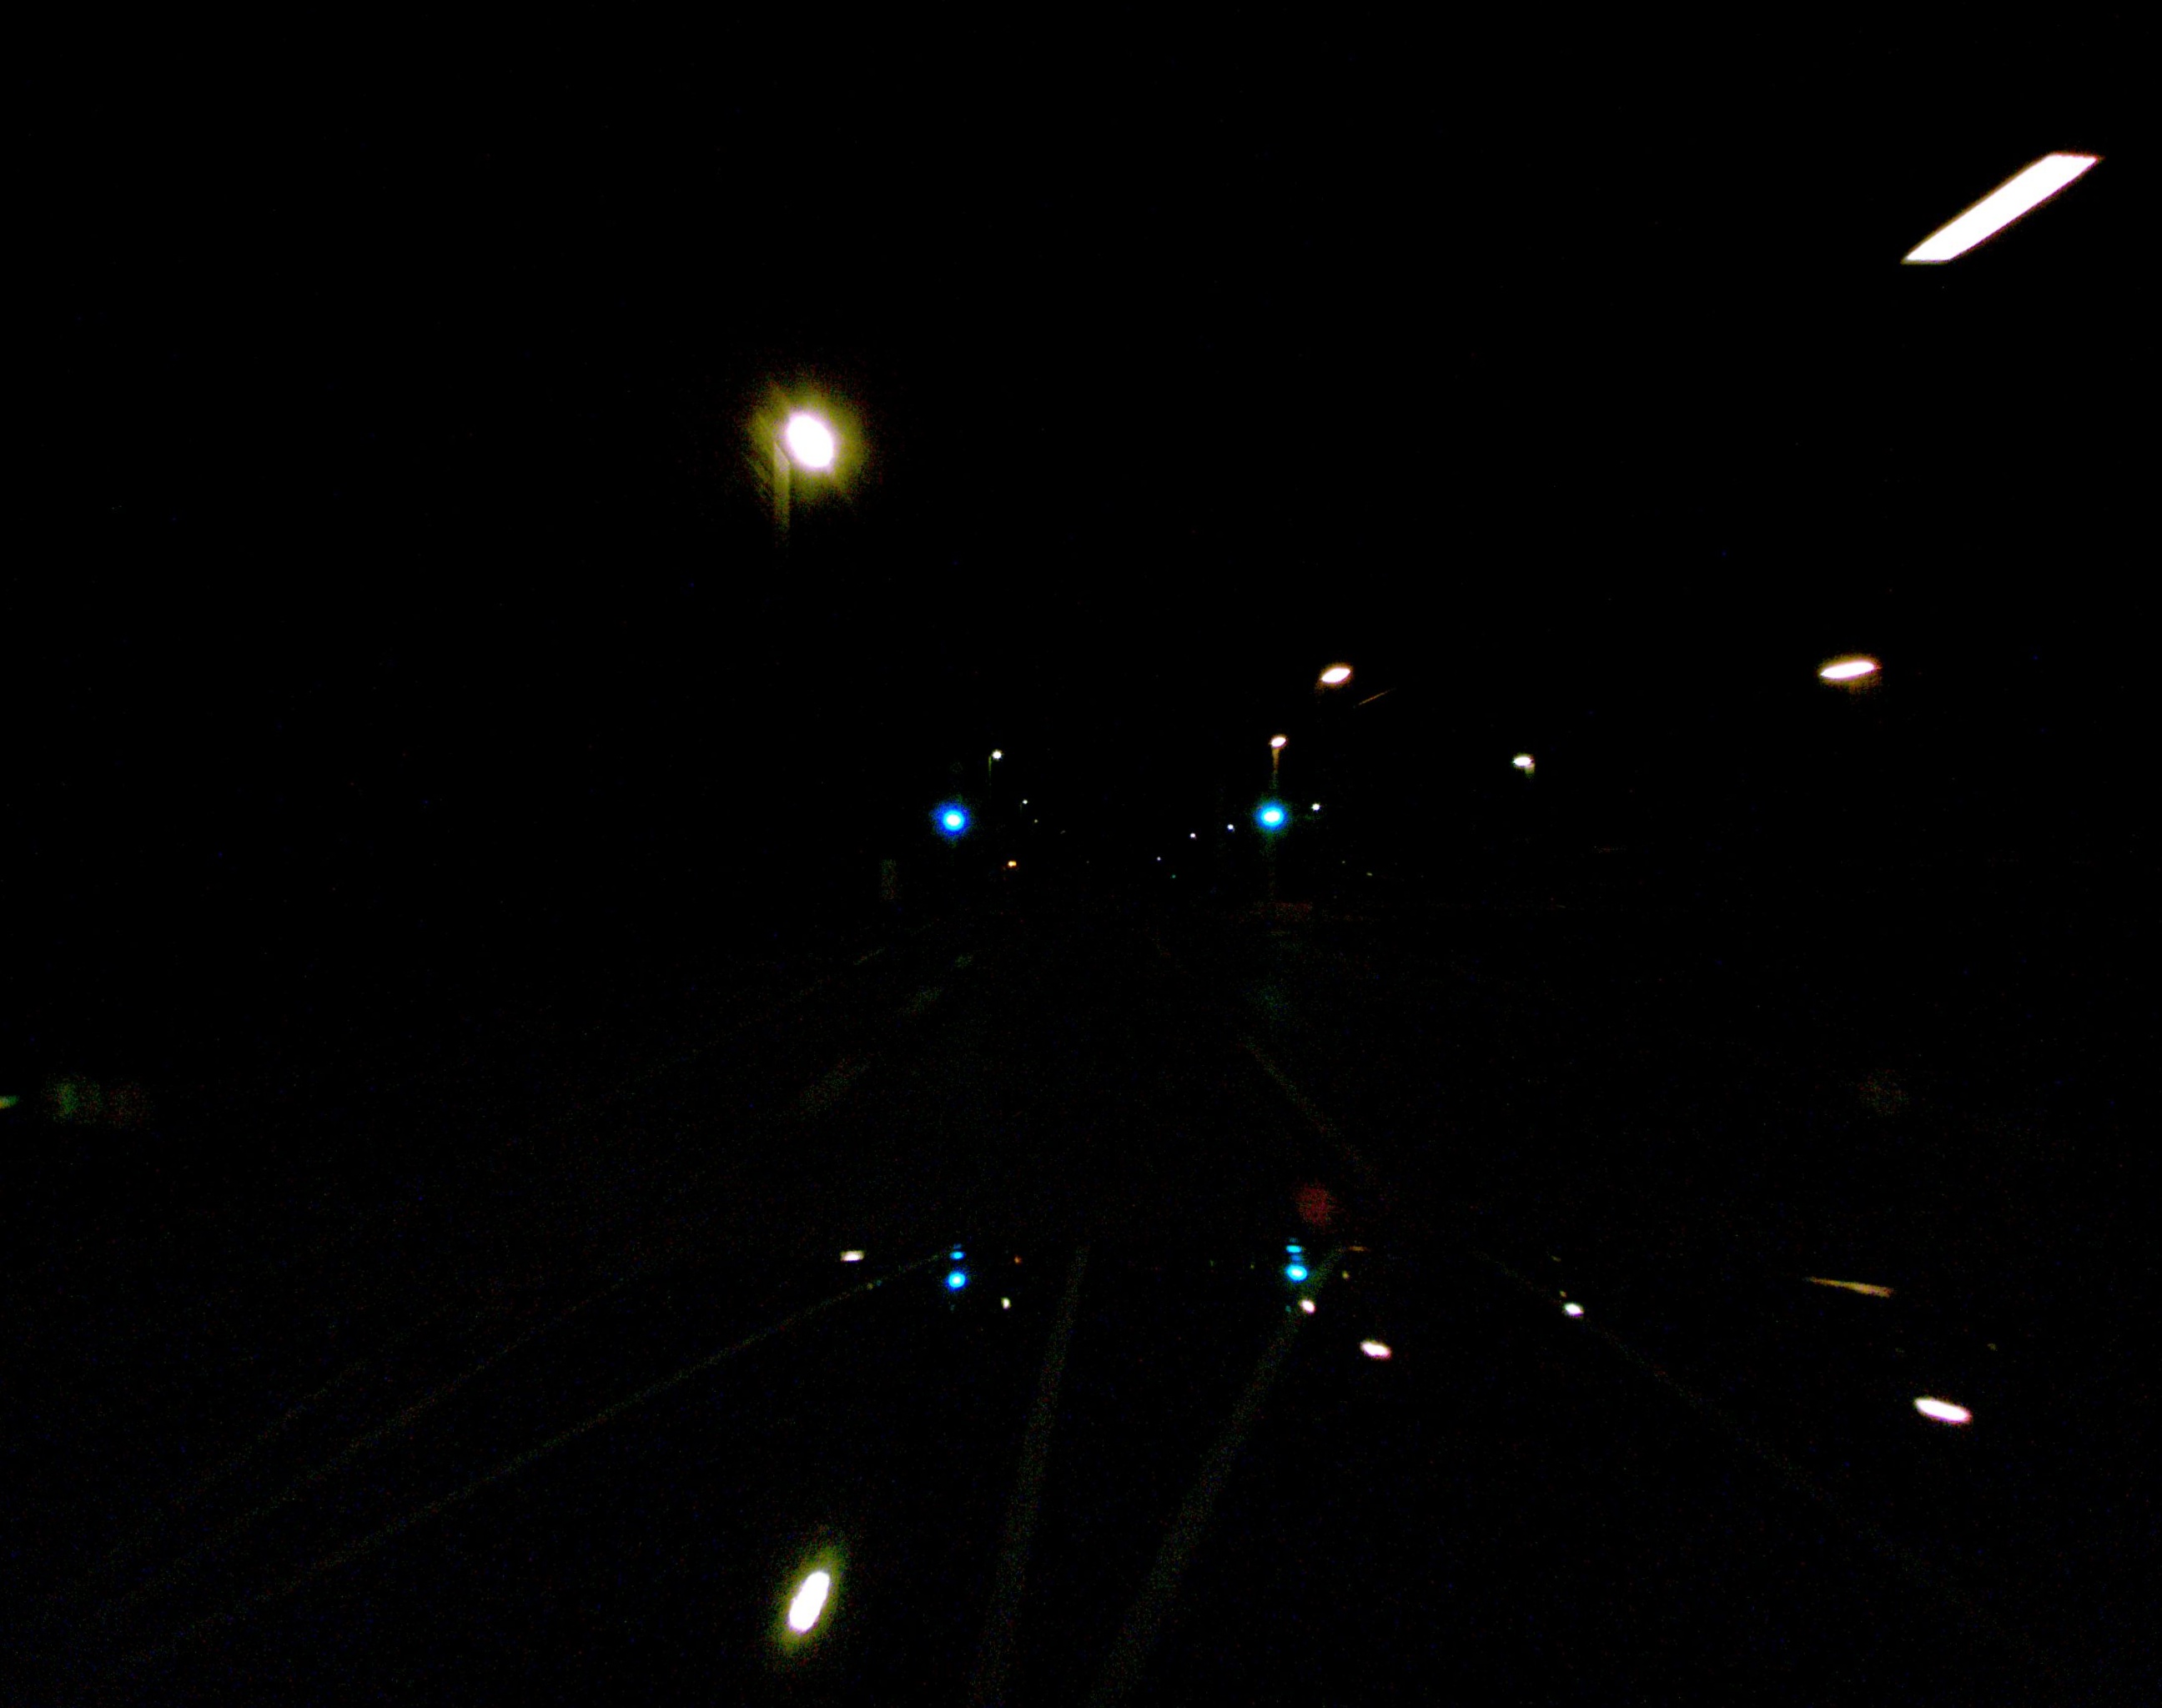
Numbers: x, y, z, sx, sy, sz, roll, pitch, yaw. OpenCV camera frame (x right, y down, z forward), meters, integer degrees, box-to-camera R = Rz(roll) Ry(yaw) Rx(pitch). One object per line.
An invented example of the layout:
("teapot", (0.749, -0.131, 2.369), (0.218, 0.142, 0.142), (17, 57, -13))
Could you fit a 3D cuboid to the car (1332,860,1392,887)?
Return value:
("car", (16.536, 1.127, 44.914), (1.871, 1.496, 4.094), (0, 0, -3))
